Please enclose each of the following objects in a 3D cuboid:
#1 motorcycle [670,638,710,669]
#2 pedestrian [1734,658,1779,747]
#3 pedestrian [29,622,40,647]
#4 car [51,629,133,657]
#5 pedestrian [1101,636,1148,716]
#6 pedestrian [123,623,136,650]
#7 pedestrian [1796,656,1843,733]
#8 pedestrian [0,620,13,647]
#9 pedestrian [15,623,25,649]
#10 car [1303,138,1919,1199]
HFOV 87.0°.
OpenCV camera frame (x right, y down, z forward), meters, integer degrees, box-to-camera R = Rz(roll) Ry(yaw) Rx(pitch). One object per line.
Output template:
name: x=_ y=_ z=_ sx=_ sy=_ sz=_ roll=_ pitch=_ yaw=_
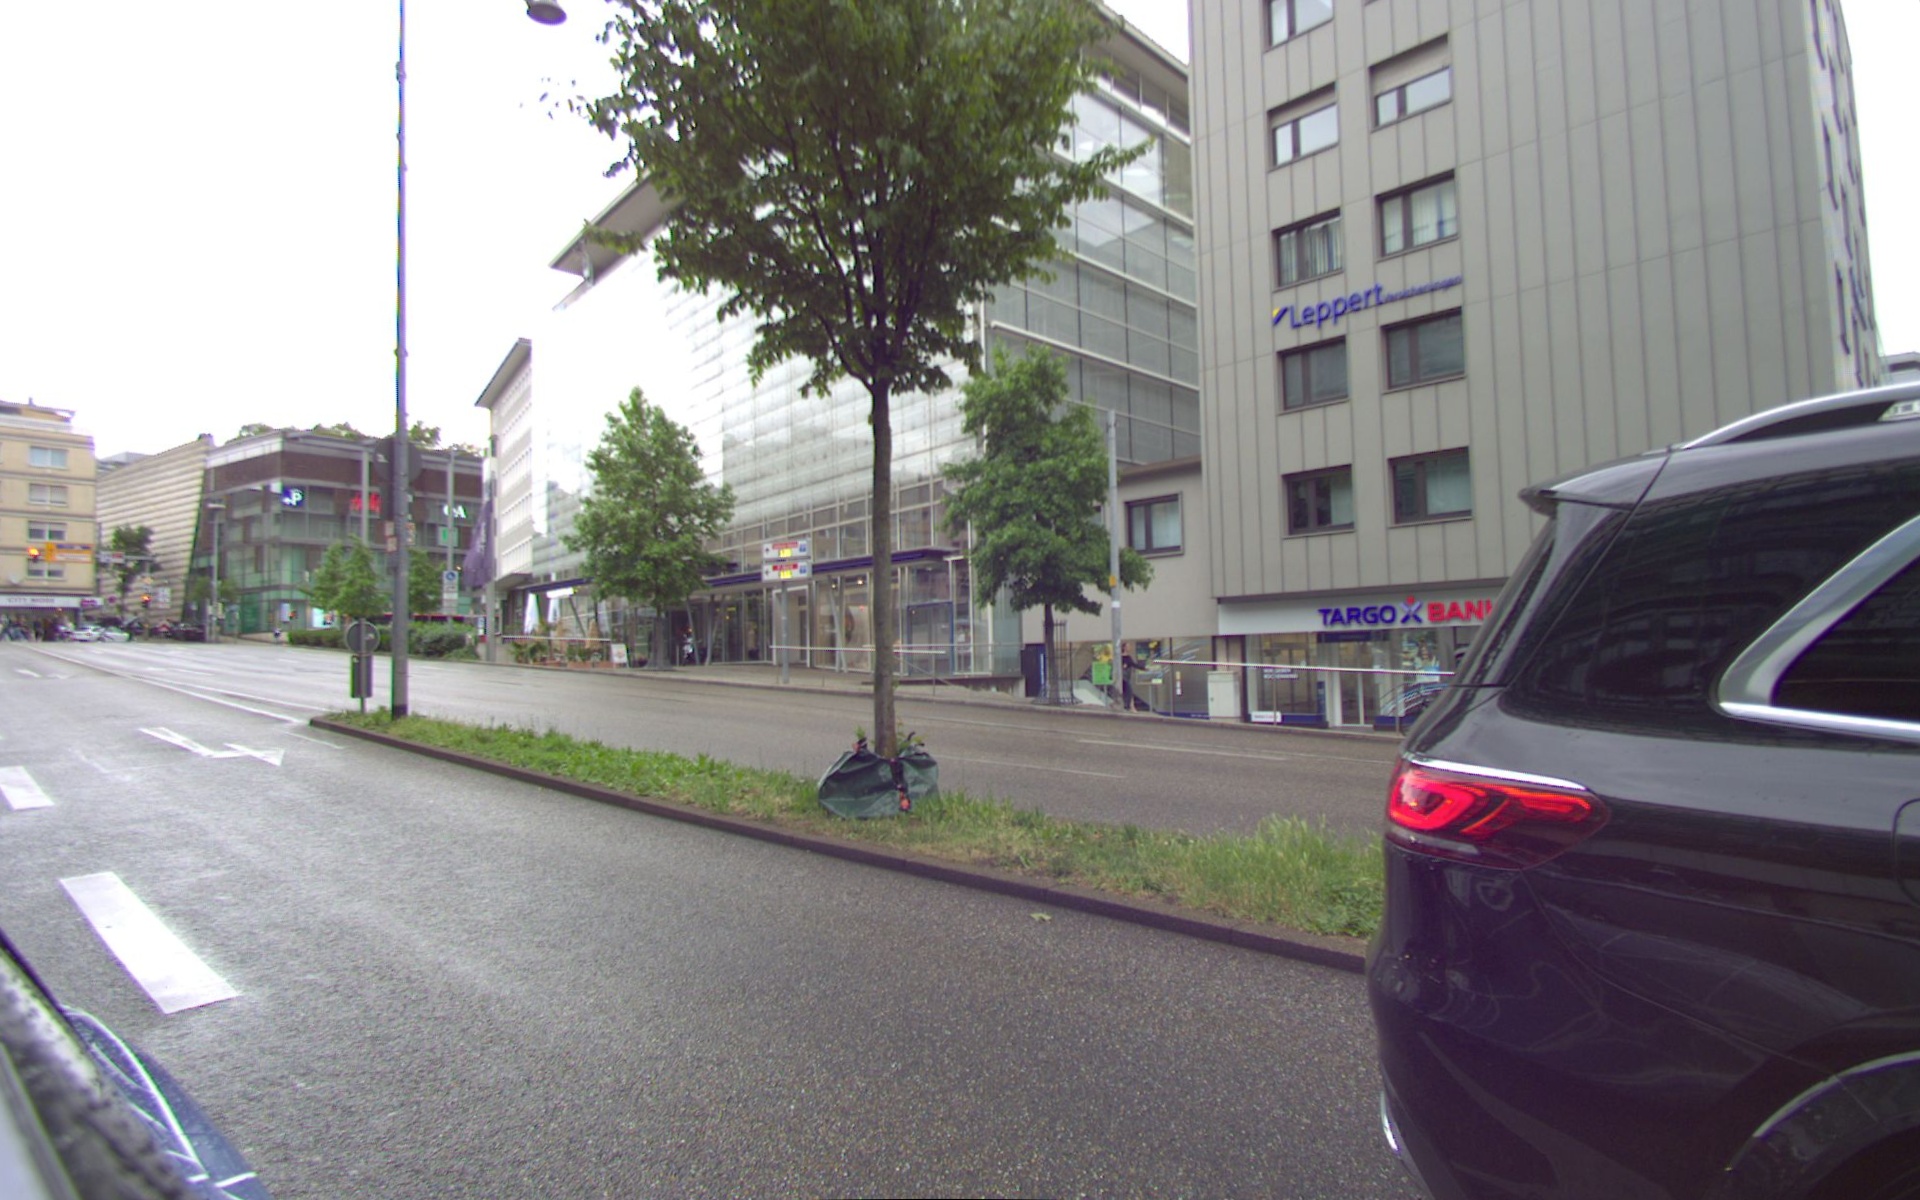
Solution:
motorcycle: x=-12.226 y=2.417 z=45.834 sx=0.620 sy=1.336 sz=1.685 roll=-1 pitch=-3 yaw=41
pedestrian: x=15.710 y=2.001 z=19.971 sx=0.634 sy=1.649 sz=0.781 roll=0 pitch=0 yaw=34
pedestrian: x=-60.248 y=2.234 z=65.879 sx=0.602 sy=1.642 sz=0.422 roll=-1 pitch=-3 yaw=44
car: x=-66.357 y=3.276 z=77.464 sx=1.975 sy=2.029 sz=4.579 roll=1 pitch=-2 yaw=6
pedestrian: x=3.555 y=1.620 z=21.863 sx=0.626 sy=1.649 sz=0.791 roll=0 pitch=0 yaw=-41
pedestrian: x=-56.739 y=2.493 z=69.111 sx=0.618 sy=1.788 sz=0.689 roll=0 pitch=0 yaw=-45
pedestrian: x=19.877 y=2.165 z=23.422 sx=0.724 sy=1.710 sz=0.781 roll=0 pitch=-3 yaw=34
pedestrian: x=-56.713 y=1.988 z=60.078 sx=0.602 sy=1.642 sz=0.626 roll=-1 pitch=-3 yaw=40
pedestrian: x=-59.550 y=2.300 z=64.114 sx=0.422 sy=1.642 sz=0.603 roll=3 pitch=-3 yaw=-45
car: x=3.113 y=0.382 z=0.794 sx=5.069 sy=1.884 sz=1.892 roll=0 pitch=0 yaw=40
